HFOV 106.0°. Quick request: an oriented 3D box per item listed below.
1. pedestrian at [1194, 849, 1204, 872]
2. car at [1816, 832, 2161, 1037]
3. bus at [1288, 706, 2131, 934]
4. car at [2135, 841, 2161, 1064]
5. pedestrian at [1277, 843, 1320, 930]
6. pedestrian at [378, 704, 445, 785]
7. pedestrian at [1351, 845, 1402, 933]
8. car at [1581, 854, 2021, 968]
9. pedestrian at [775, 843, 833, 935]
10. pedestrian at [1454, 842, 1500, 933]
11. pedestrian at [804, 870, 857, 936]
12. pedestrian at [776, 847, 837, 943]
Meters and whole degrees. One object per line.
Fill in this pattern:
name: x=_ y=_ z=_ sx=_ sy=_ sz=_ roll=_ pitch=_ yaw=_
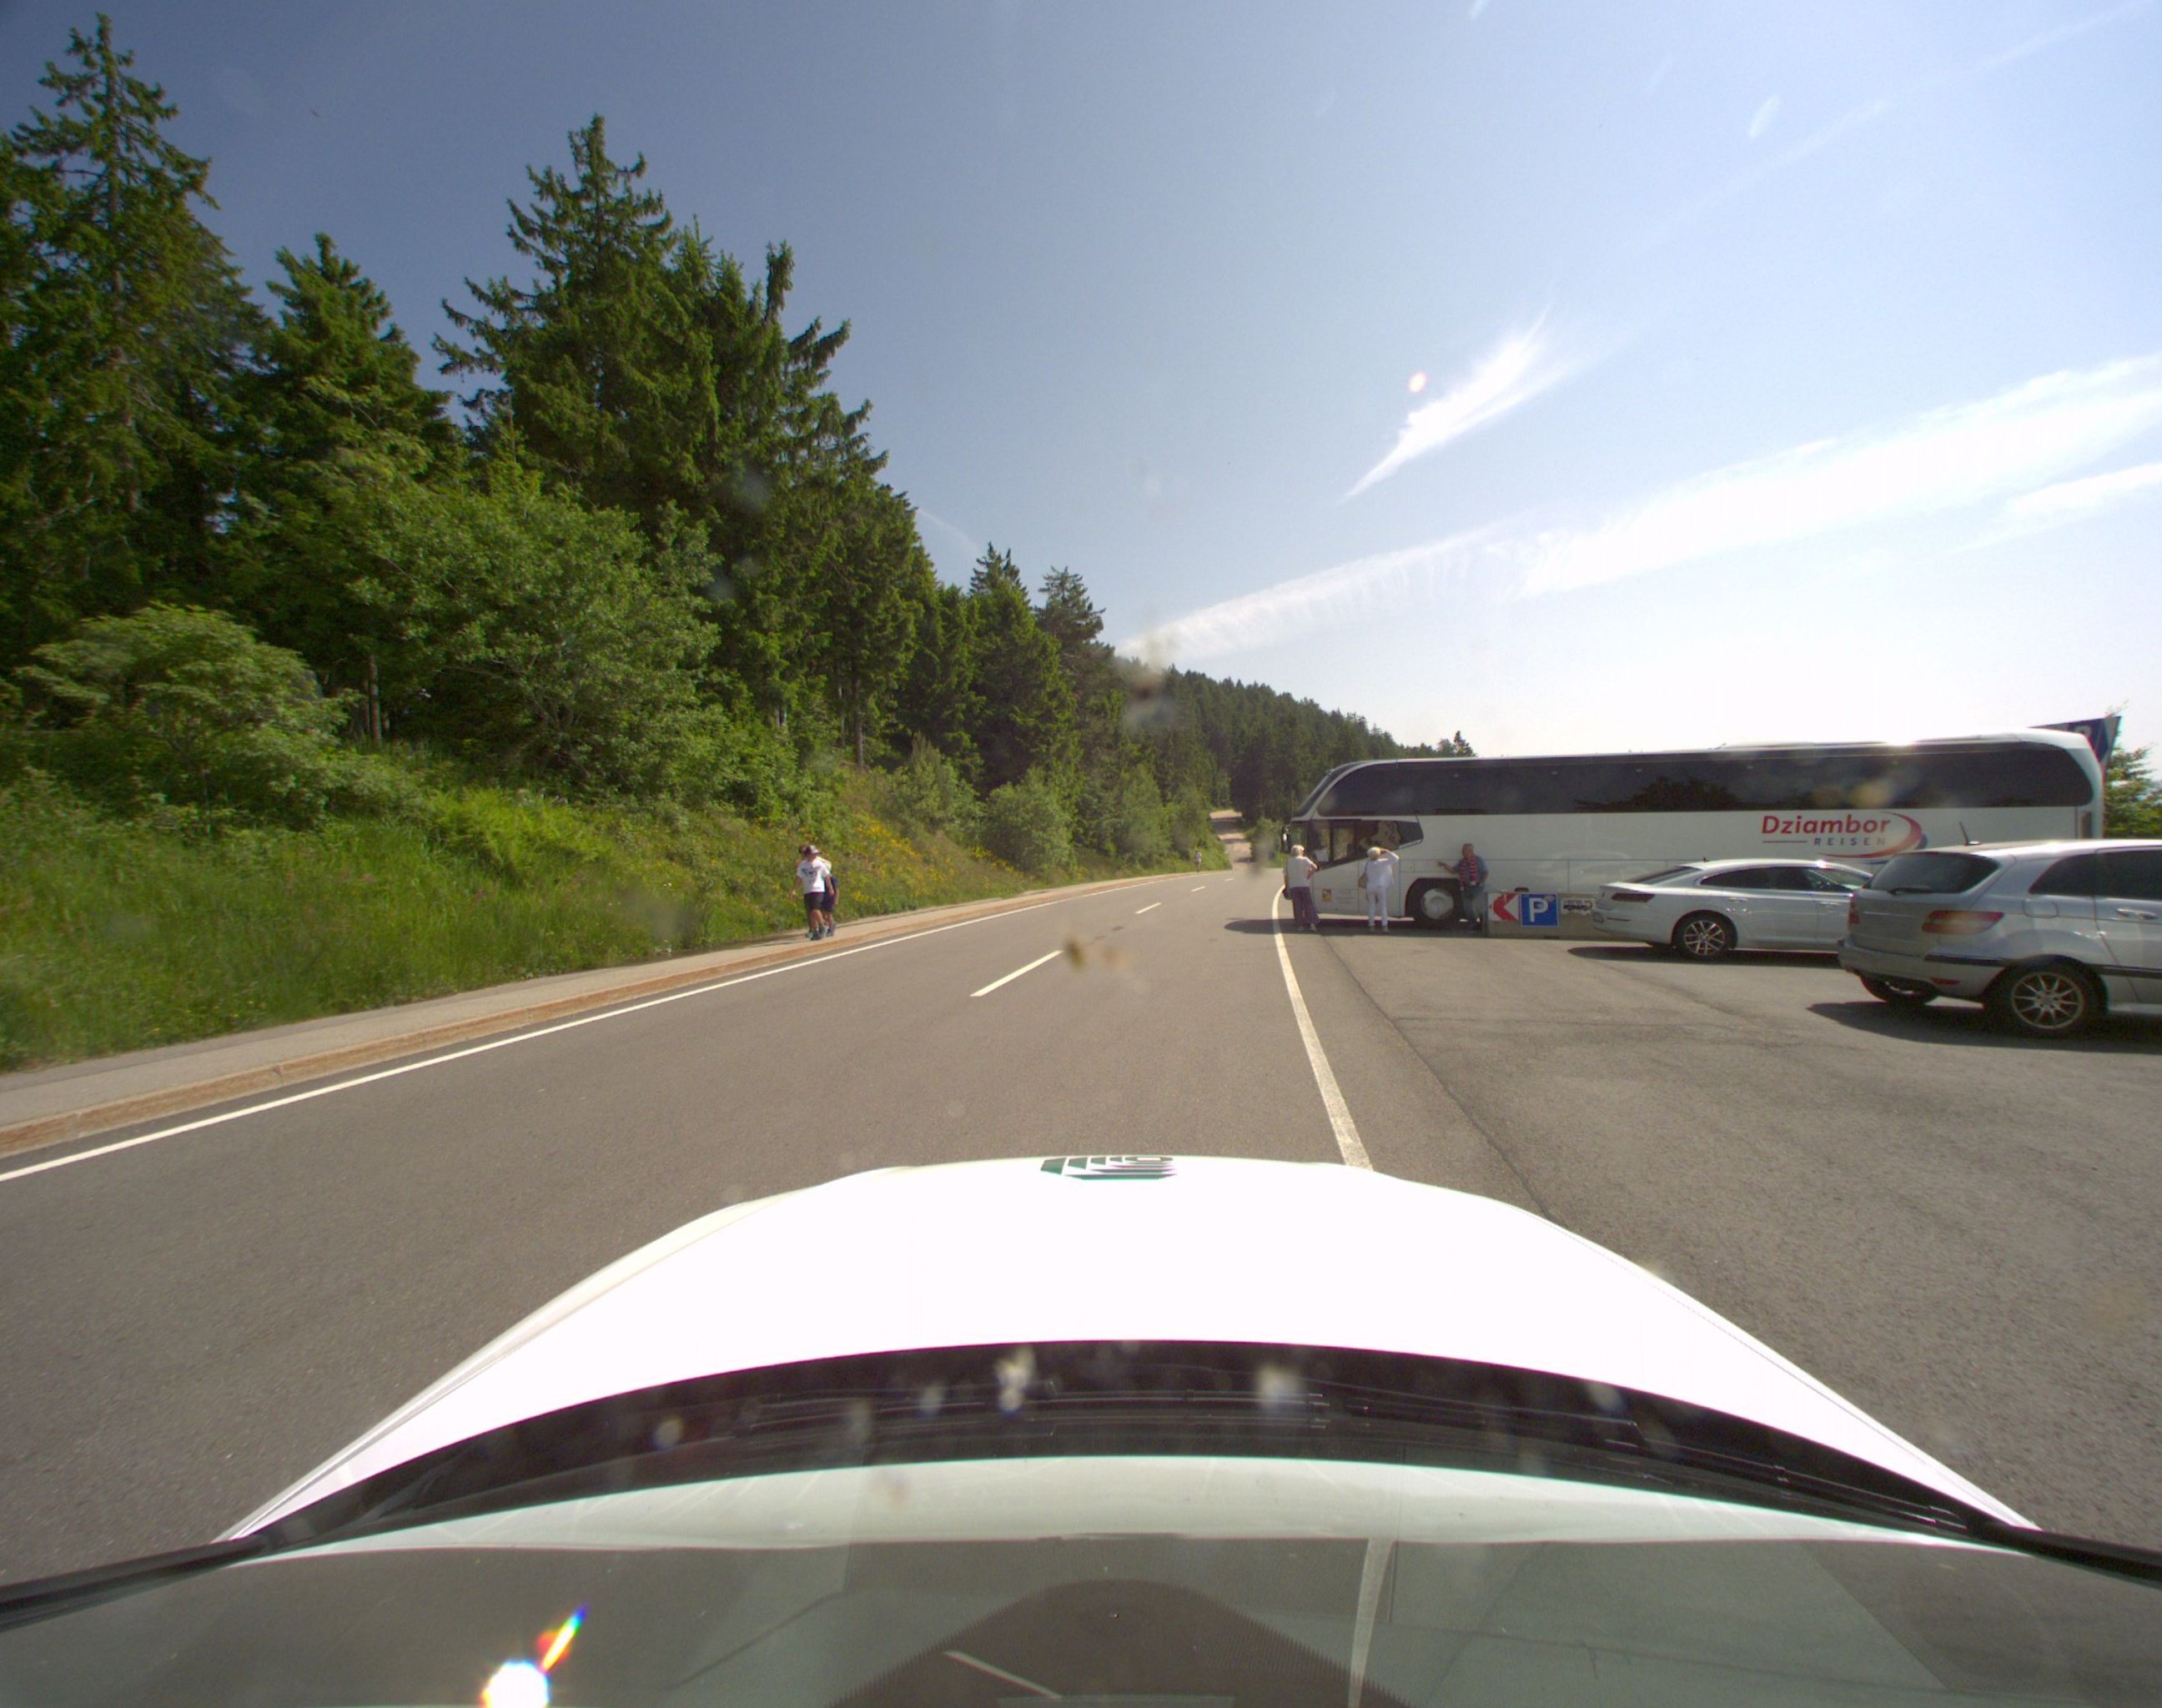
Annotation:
pedestrian: x=8.902 y=0.500 z=61.562 sx=0.678 sy=1.746 sz=0.828 roll=0 pitch=0 yaw=11
car: x=9.161 y=0.619 z=6.937 sx=3.957 sy=1.574 sz=1.774 roll=0 pitch=0 yaw=15
bus: x=10.766 y=-0.464 z=16.016 sx=12.744 sy=3.577 sz=2.852 roll=-1 pitch=0 yaw=17
car: x=8.619 y=0.653 z=3.996 sx=3.957 sy=1.420 sz=1.774 roll=1 pitch=0 yaw=15
pedestrian: x=4.231 y=0.625 z=15.887 sx=0.703 sy=1.643 sz=0.746 roll=-2 pitch=0 yaw=8
pedestrian: x=-14.483 y=-2.346 z=17.633 sx=0.805 sy=1.629 sz=0.743 roll=-1 pitch=0 yaw=6
pedestrian: x=5.596 y=0.644 z=15.407 sx=0.638 sy=1.596 sz=0.749 roll=-1 pitch=0 yaw=42
car: x=9.858 y=0.706 z=11.627 sx=4.387 sy=1.396 sz=1.727 roll=0 pitch=0 yaw=20
pedestrian: x=-5.083 y=0.625 z=14.968 sx=0.572 sy=1.643 sz=0.897 roll=-2 pitch=0 yaw=13
pedestrian: x=7.361 y=0.615 z=15.160 sx=0.639 sy=1.643 sz=0.748 roll=-2 pitch=0 yaw=18
pedestrian: x=-4.462 y=0.863 z=14.530 sx=0.564 sy=1.102 sz=0.747 roll=-2 pitch=0 yaw=13
pedestrian: x=-4.572 y=0.664 z=13.618 sx=0.577 sy=1.537 sz=0.882 roll=-2 pitch=0 yaw=10
